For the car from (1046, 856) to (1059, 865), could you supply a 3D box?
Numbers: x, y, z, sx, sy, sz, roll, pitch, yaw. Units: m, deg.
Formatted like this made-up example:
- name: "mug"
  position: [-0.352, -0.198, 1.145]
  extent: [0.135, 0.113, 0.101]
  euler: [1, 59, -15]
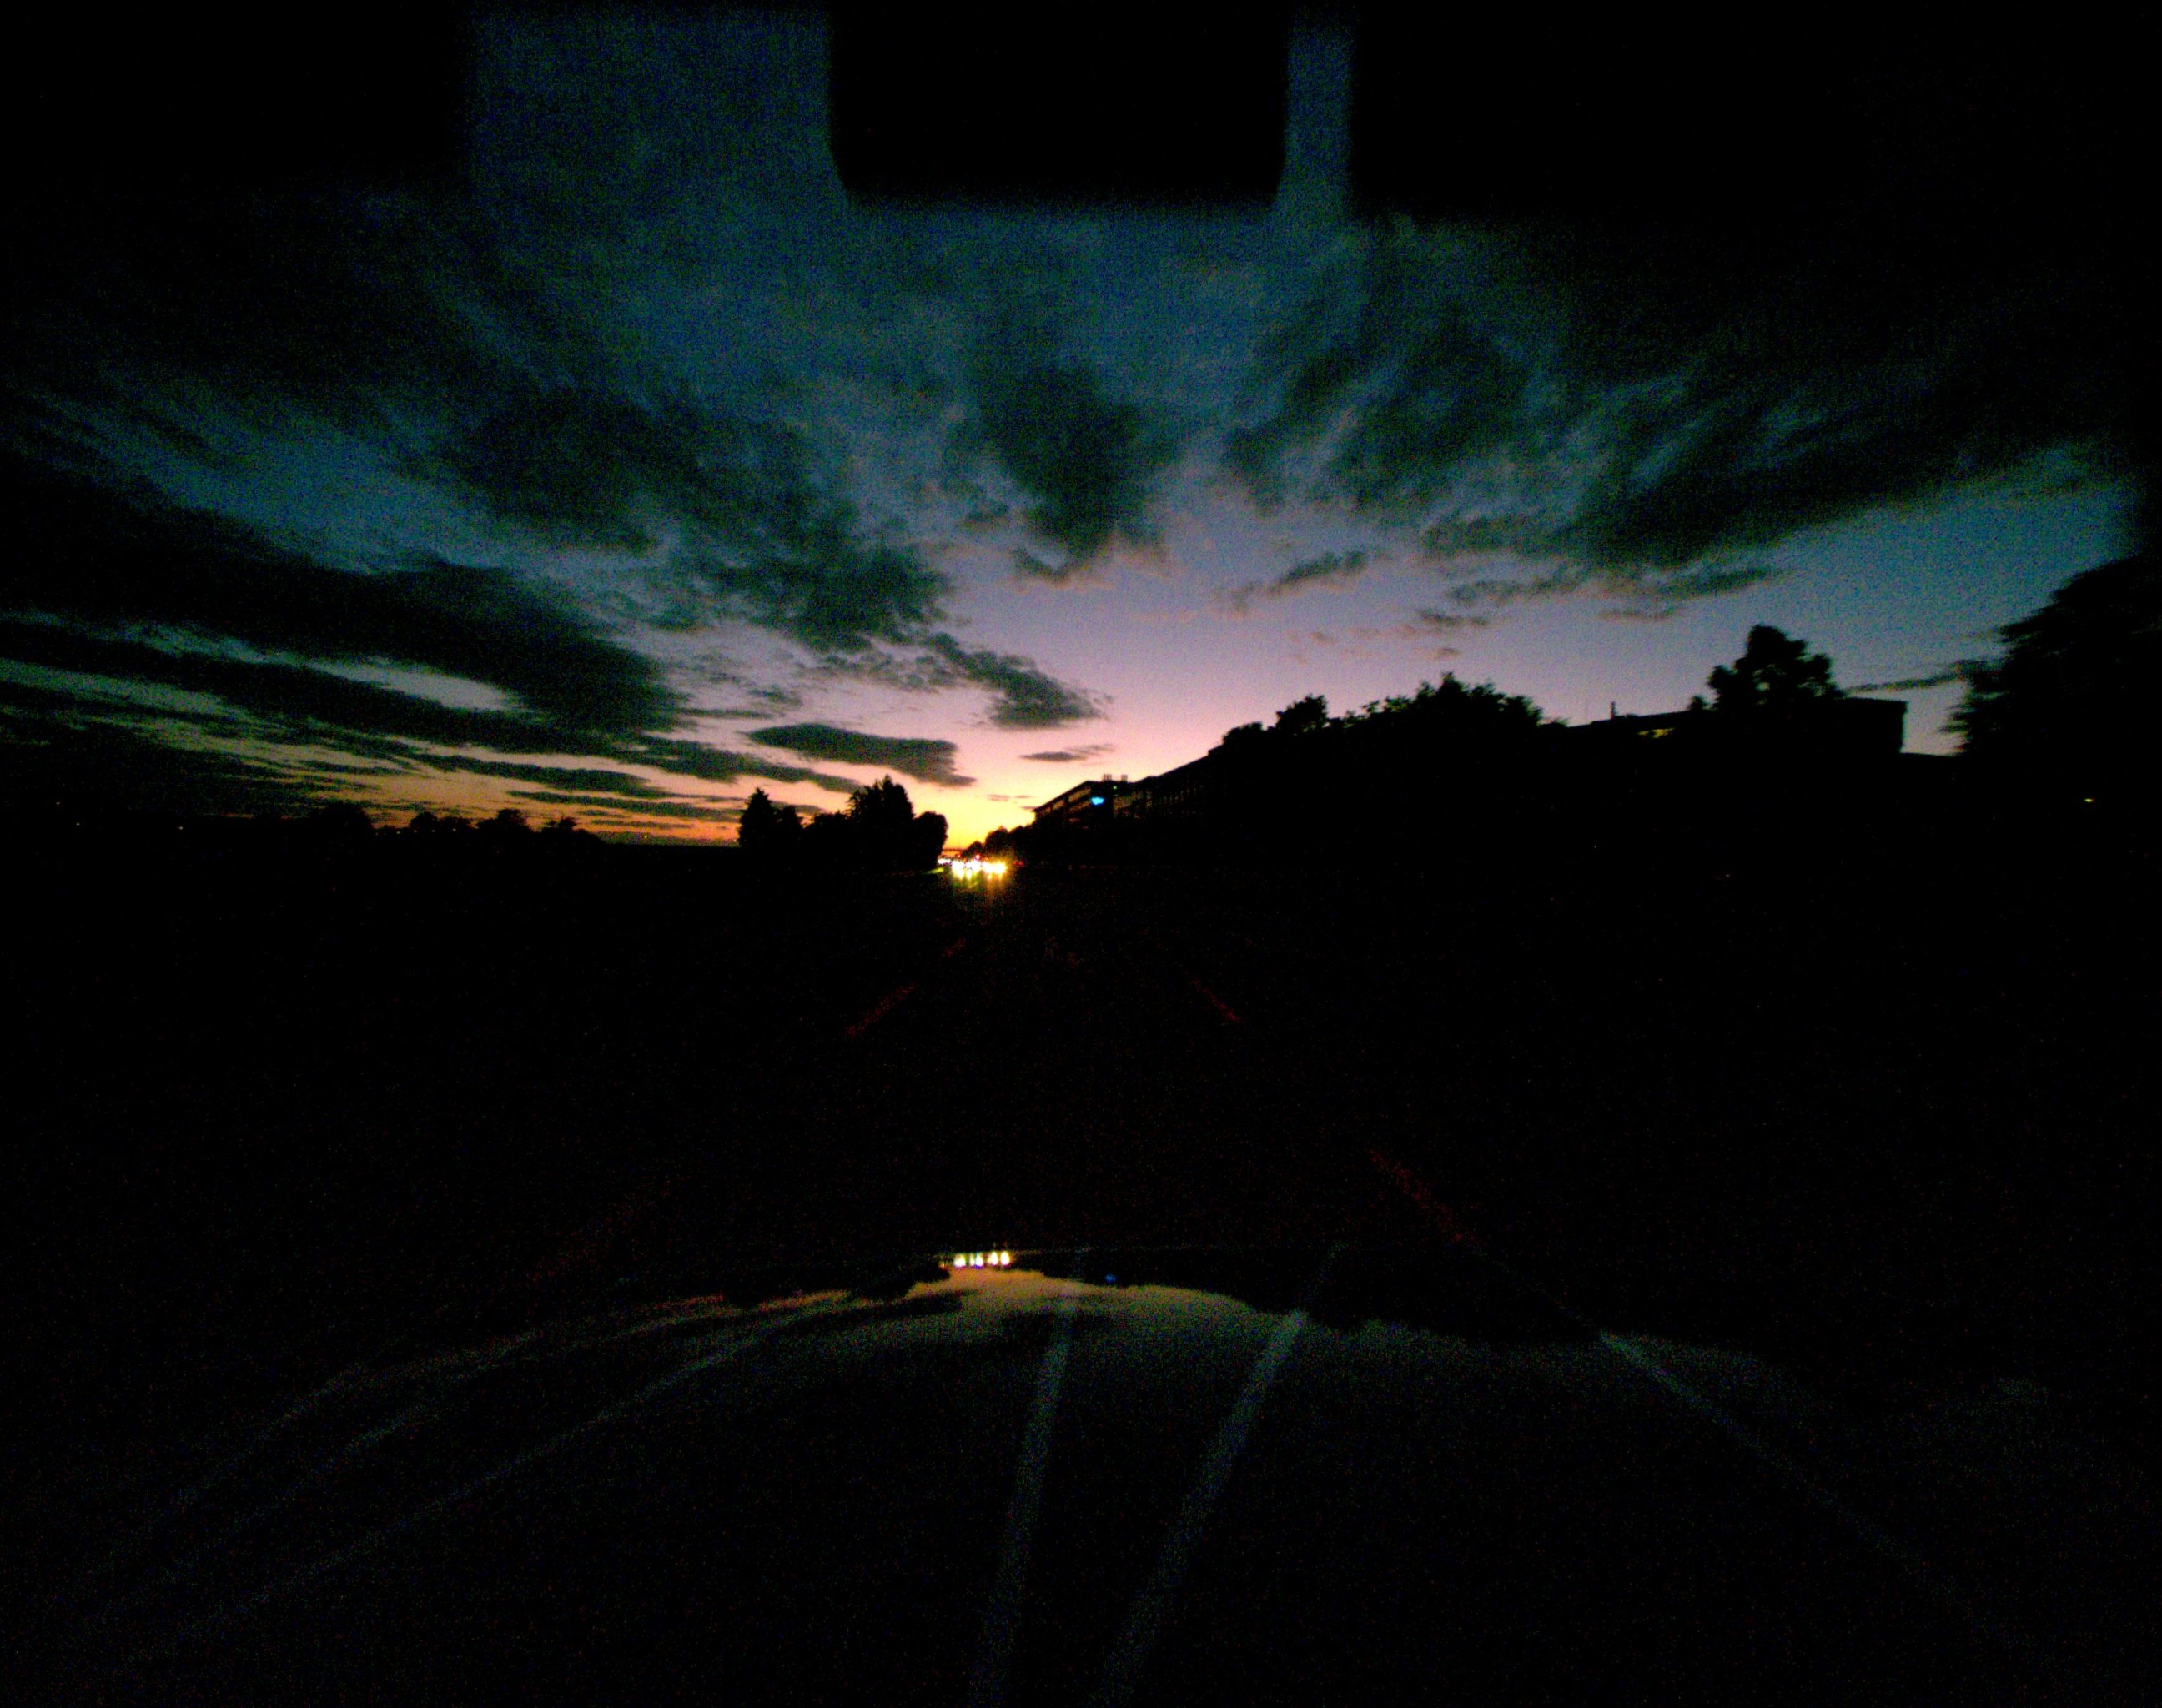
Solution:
- name: "car"
  position: [-5.106, 1.154, 134.540]
  extent: [1.706, 1.613, 4.303]
  euler: [-1, 0, -9]

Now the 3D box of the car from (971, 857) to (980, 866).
- name: "car"
  position: [-22.849, 1.666, 164.092]
  extent: [1.834, 1.739, 3.848]
  euler: [-2, 0, -8]

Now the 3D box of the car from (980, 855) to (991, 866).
- name: "car"
  position: [-18.564, 1.189, 147.854]
  extent: [1.862, 2.002, 3.998]
  euler: [-2, 0, -4]

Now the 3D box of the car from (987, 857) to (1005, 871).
- name: "car"
  position: [-9.485, 1.111, 84.460]
  extent: [1.757, 1.447, 3.800]
  euler: [-2, 0, -9]

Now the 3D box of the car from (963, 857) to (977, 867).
- name: "car"
  position: [-19.397, 1.417, 132.434]
  extent: [1.999, 1.574, 3.999]
  euler: [-2, 0, -3]
